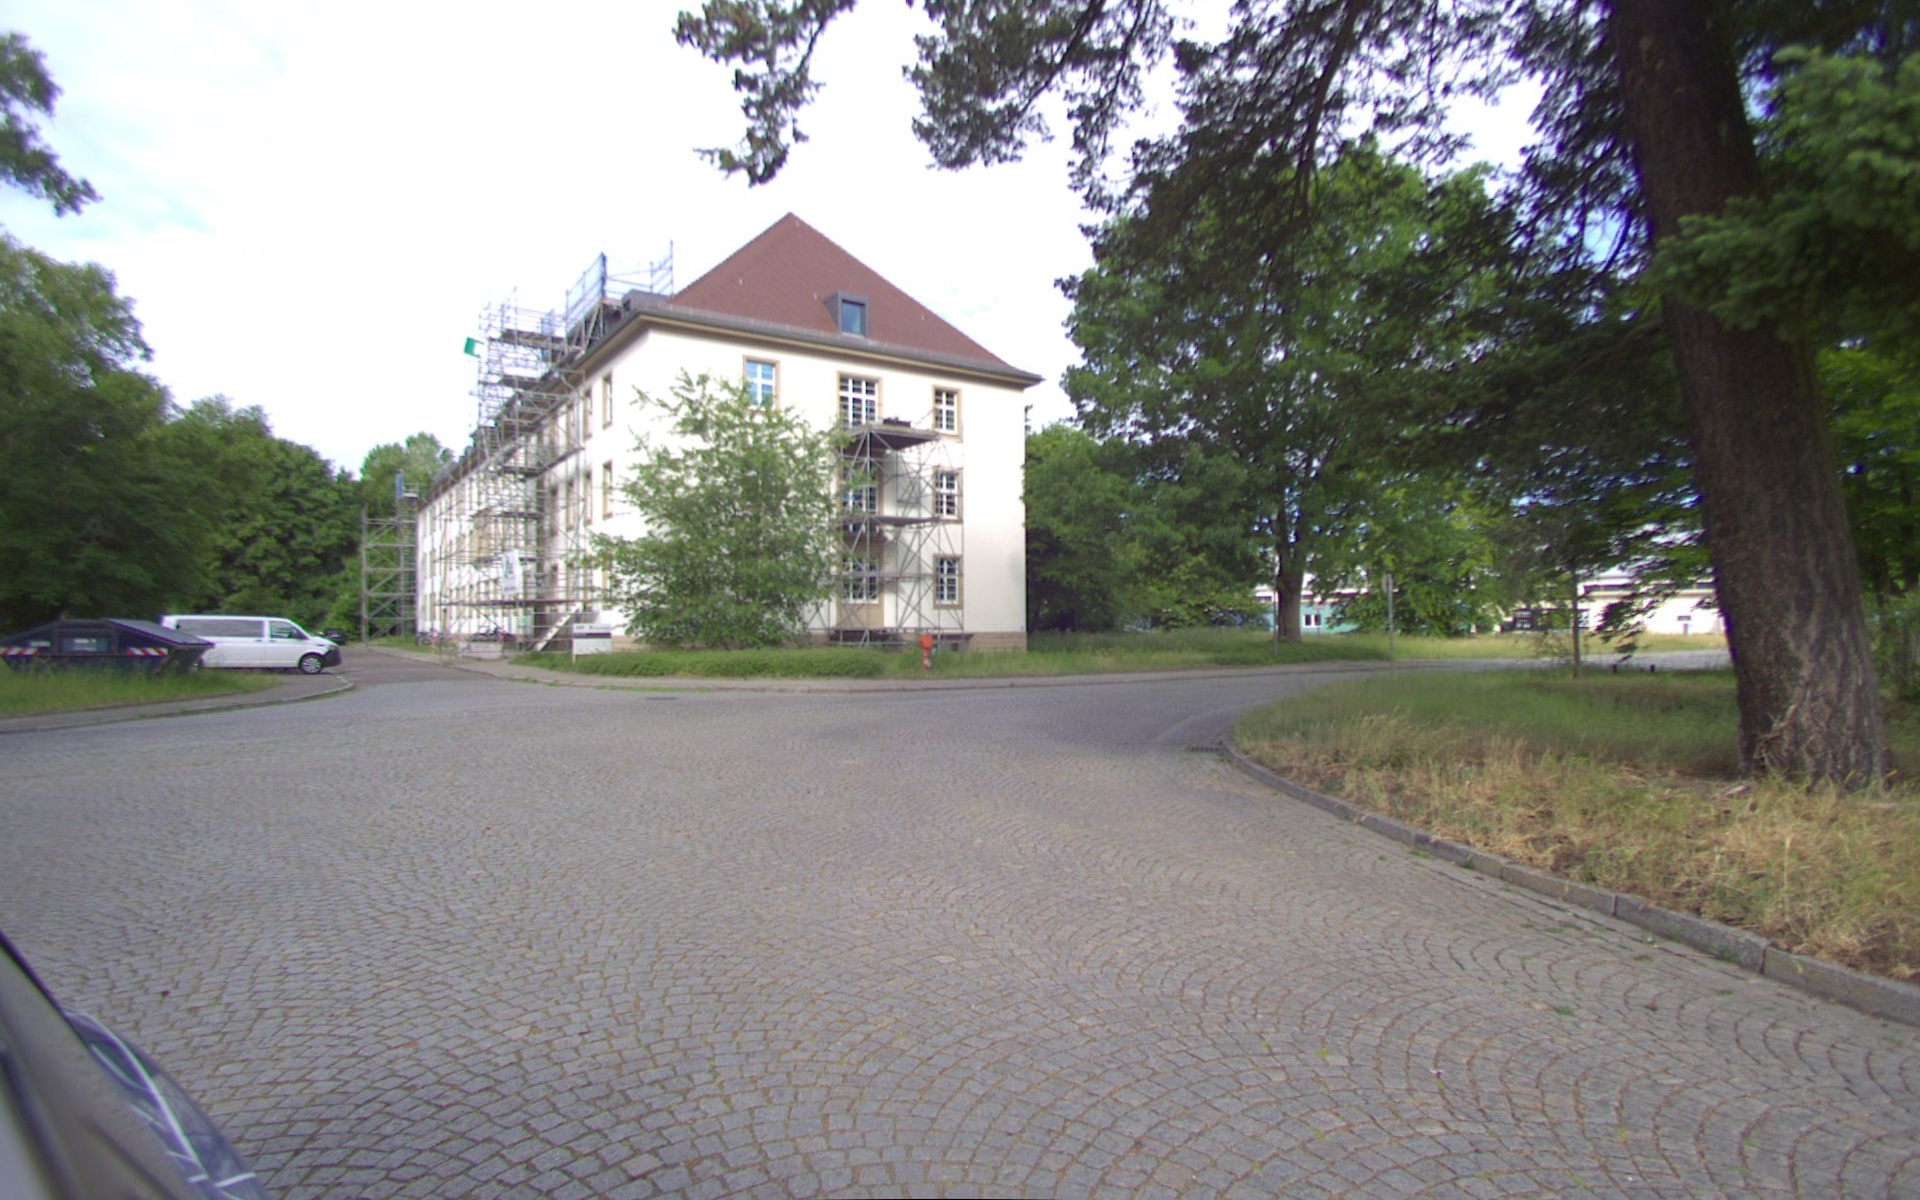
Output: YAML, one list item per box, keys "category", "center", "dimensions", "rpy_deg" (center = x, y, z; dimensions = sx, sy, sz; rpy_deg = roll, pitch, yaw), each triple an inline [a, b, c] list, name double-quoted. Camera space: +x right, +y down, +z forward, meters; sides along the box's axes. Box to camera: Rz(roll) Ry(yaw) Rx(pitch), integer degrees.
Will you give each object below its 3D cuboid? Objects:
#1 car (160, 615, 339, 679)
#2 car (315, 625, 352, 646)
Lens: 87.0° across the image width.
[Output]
- category: "car"
  center: [-24.010, 1.543, 34.323]
  dimensions: [4.838, 2.010, 2.004]
  rpy_deg: [1, -2, -37]
- category: "car"
  center: [-57.188, 3.241, 92.397]
  dimensions: [4.002, 1.941, 1.999]
  rpy_deg: [-2, -2, 45]
